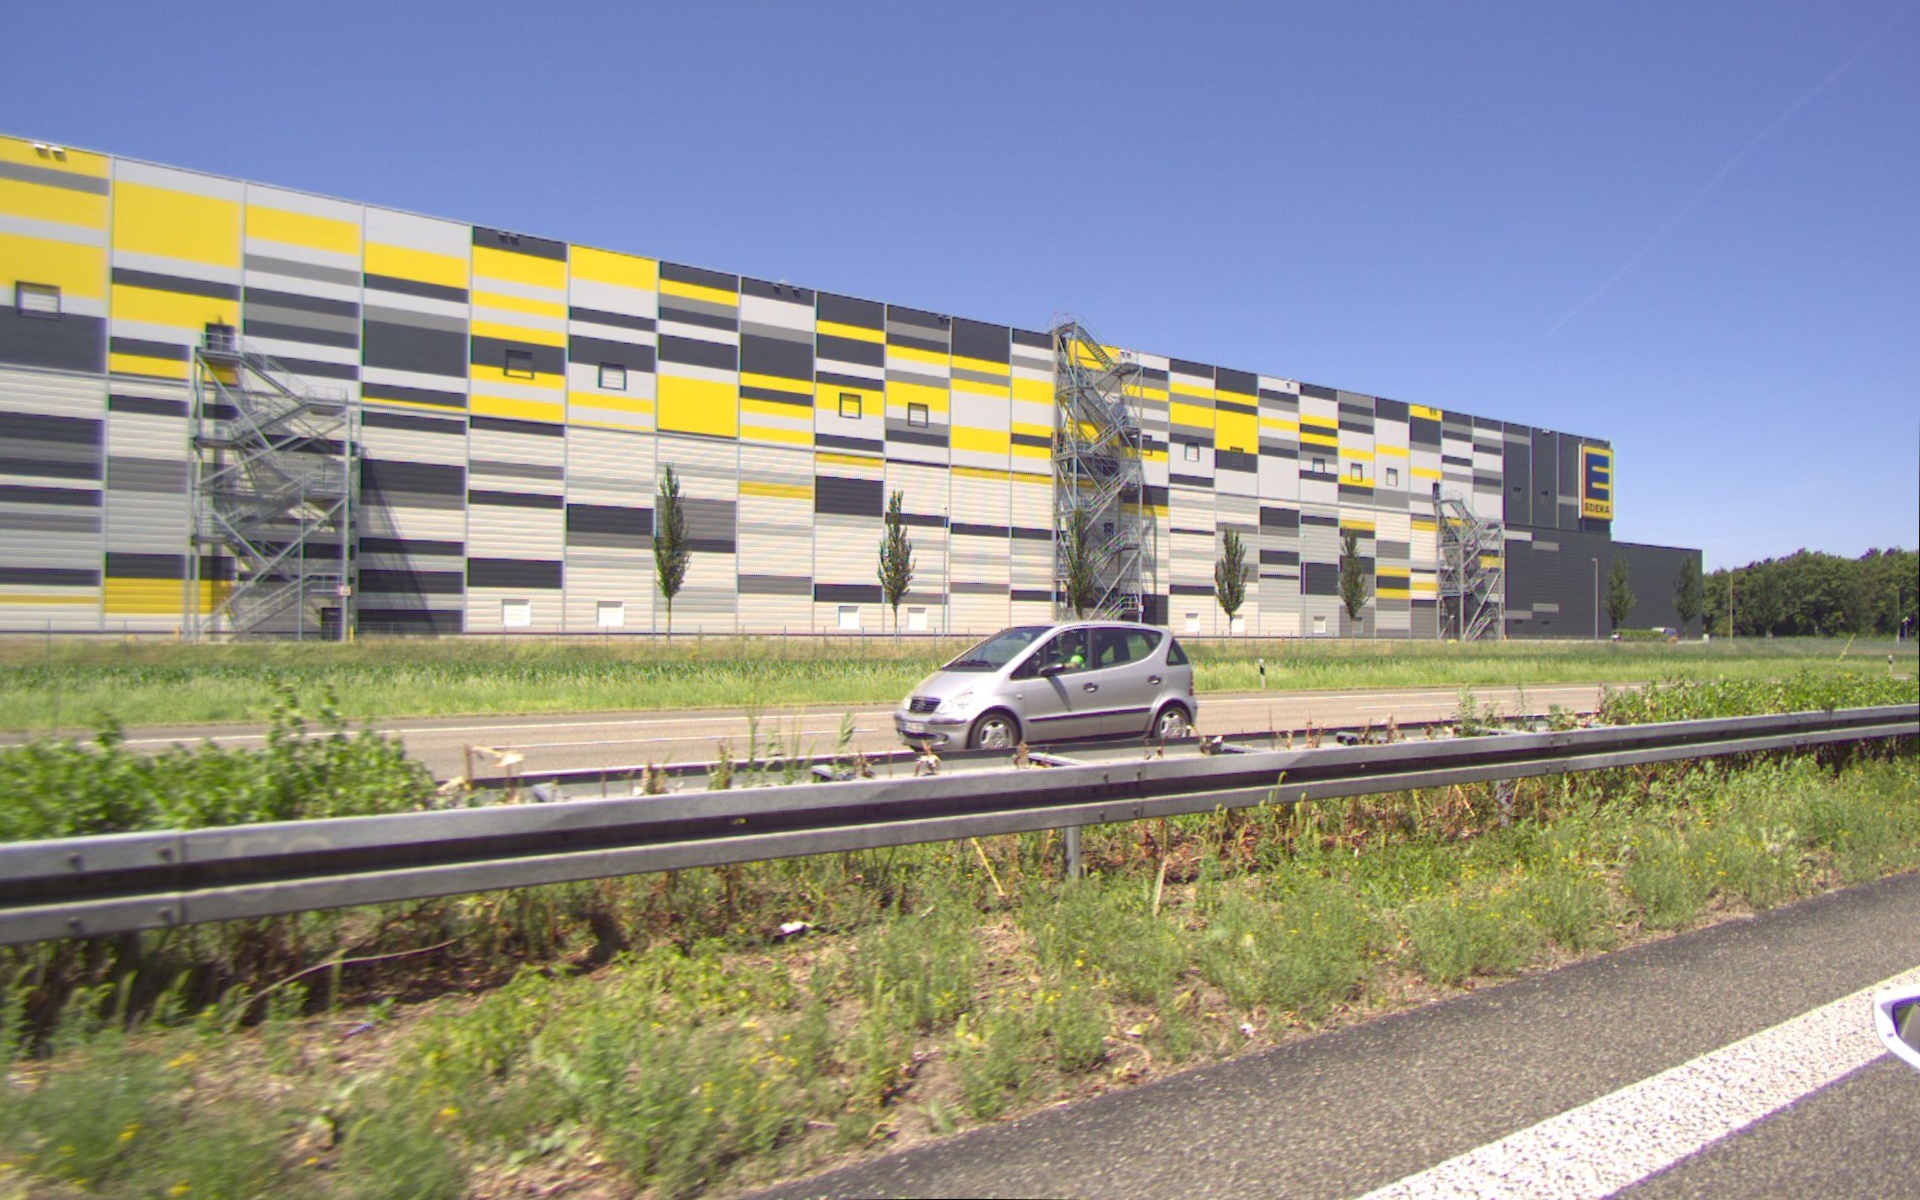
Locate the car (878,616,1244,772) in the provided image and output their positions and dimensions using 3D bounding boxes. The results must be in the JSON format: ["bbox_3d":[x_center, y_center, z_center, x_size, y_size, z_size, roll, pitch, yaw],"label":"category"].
[{"bbox_3d":[1.294,1.058,12.175,4.283,1.603,1.649,2,-3,-30],"label":"car"}]
